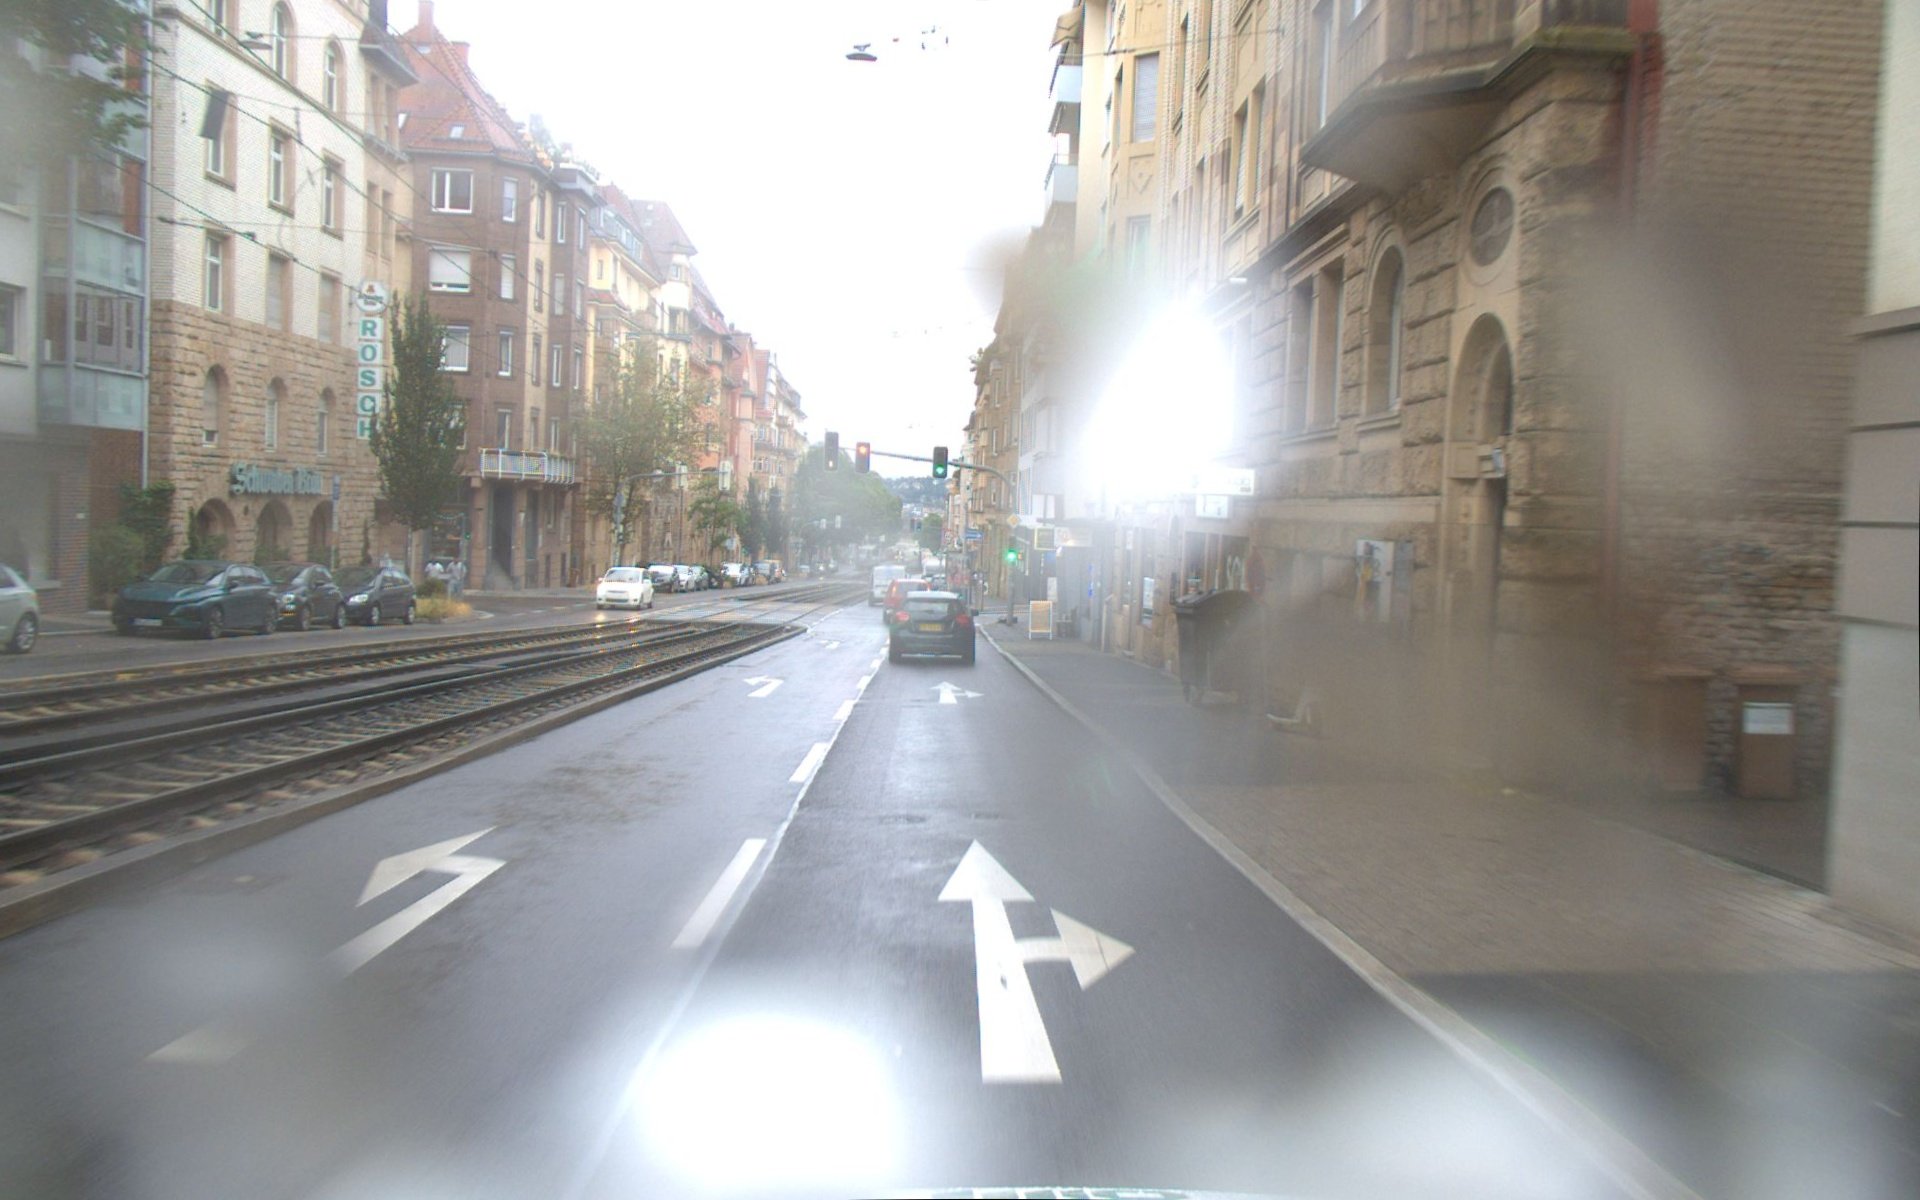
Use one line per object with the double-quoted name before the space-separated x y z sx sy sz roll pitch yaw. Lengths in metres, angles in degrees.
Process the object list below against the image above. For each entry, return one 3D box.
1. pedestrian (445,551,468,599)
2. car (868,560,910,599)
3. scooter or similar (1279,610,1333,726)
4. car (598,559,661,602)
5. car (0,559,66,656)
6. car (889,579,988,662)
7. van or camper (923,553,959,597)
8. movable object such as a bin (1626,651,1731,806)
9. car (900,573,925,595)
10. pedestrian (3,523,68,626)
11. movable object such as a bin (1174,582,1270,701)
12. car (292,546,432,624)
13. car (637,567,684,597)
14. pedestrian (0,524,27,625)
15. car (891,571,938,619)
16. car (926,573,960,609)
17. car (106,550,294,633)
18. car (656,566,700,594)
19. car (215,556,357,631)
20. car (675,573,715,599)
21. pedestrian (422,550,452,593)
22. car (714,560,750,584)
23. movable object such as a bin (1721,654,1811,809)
"pedestrian" -17.060 -0.833 56.051 0.506 1.598 0.643 1 0 2
"car" -3.385 -0.974 78.926 1.883 1.684 3.998 3 0 -3
"scooter or similar" 3.470 0.668 16.616 0.205 1.131 0.889 0 -1 -11
"car" -12.391 -0.727 62.174 1.594 1.508 3.580 2 0 0
"car" -14.711 0.074 23.543 1.668 1.358 4.129 4 0 -1
"car" -0.492 0.391 34.337 1.907 1.592 3.641 2 0 -2
"van or camper" -1.130 -1.476 99.959 2.022 2.512 6.118 2 0 -1
"movable object such as a bin" 5.044 0.895 11.625 0.491 1.032 0.476 2 0 -3
"car" -3.673 -1.260 129.331 1.864 1.621 3.999 2 0 -1
"pedestrian" -16.666 -0.451 29.814 0.660 1.803 0.782 2 0 -1
"movable object such as a bin" 3.341 0.504 21.205 0.988 1.476 1.393 0 0 -1
"car" -15.187 -0.378 42.225 1.847 1.757 3.742 4 0 4
"car" -15.956 -0.953 88.221 1.729 1.512 4.000 2 0 0
"pedestrian" -17.406 -0.473 29.825 0.660 1.803 0.782 2 0 -1
"car" -1.563 -0.174 58.128 1.504 1.536 3.999 3 0 -1
"car" -0.955 -0.504 91.448 1.733 1.839 4.481 3 1 -1
"car" -14.836 -0.190 32.567 1.764 1.480 4.429 1 1 -2
"car" -15.905 -1.144 93.446 1.633 1.450 4.263 2 1 0
"car" -15.047 -0.168 37.115 1.771 1.524 3.525 3 1 -2
"car" -15.744 -0.842 98.522 1.529 1.463 4.147 1 1 2
"pedestrian" -17.714 -0.957 56.015 0.738 1.446 0.645 2 0 1
"car" -16.280 -1.969 118.201 1.747 1.617 4.353 1 1 3
"movable object such as a bin" 5.692 0.914 11.694 0.491 1.032 0.440 2 0 19
